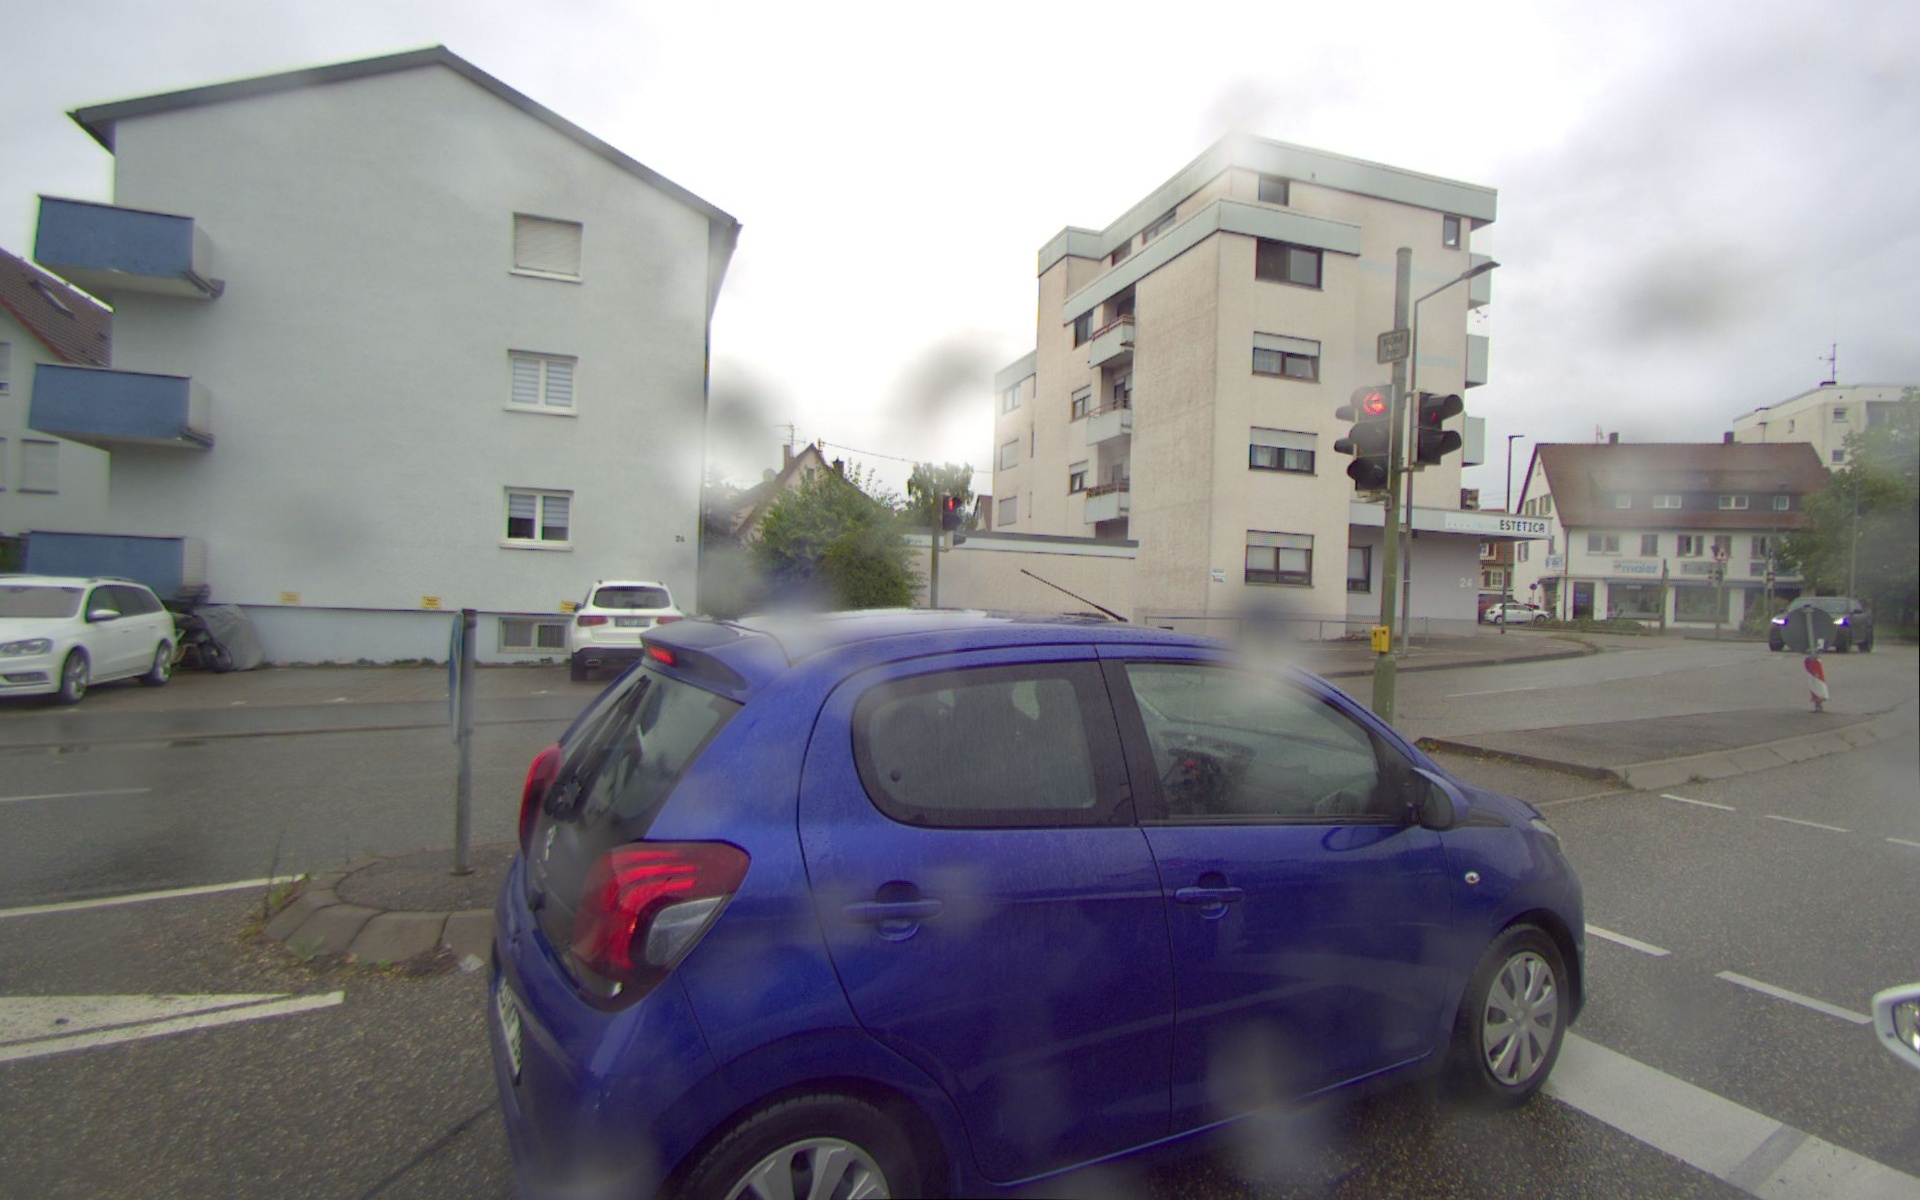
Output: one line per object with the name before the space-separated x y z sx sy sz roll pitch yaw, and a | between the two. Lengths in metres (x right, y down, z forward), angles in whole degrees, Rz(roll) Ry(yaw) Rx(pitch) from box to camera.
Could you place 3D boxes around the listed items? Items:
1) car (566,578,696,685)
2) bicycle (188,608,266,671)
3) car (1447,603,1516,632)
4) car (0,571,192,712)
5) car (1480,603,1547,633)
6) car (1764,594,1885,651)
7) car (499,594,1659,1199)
car | -5.759 0.499 17.571 1.884 1.637 3.982 2 0 -19
bicycle | -12.690 0.678 17.416 1.053 1.067 0.345 0 1 -30
car | 37.217 1.231 71.722 3.987 1.868 1.889 2 0 14
car | -11.476 0.446 12.501 1.854 1.480 4.732 1 -1 -23
car | 37.924 1.226 68.892 3.611 1.946 1.889 2 0 14
car | 29.151 0.761 33.825 5.132 1.760 1.979 2 0 -37
car | 0.474 0.733 3.096 3.324 1.432 1.498 1 1 -30
